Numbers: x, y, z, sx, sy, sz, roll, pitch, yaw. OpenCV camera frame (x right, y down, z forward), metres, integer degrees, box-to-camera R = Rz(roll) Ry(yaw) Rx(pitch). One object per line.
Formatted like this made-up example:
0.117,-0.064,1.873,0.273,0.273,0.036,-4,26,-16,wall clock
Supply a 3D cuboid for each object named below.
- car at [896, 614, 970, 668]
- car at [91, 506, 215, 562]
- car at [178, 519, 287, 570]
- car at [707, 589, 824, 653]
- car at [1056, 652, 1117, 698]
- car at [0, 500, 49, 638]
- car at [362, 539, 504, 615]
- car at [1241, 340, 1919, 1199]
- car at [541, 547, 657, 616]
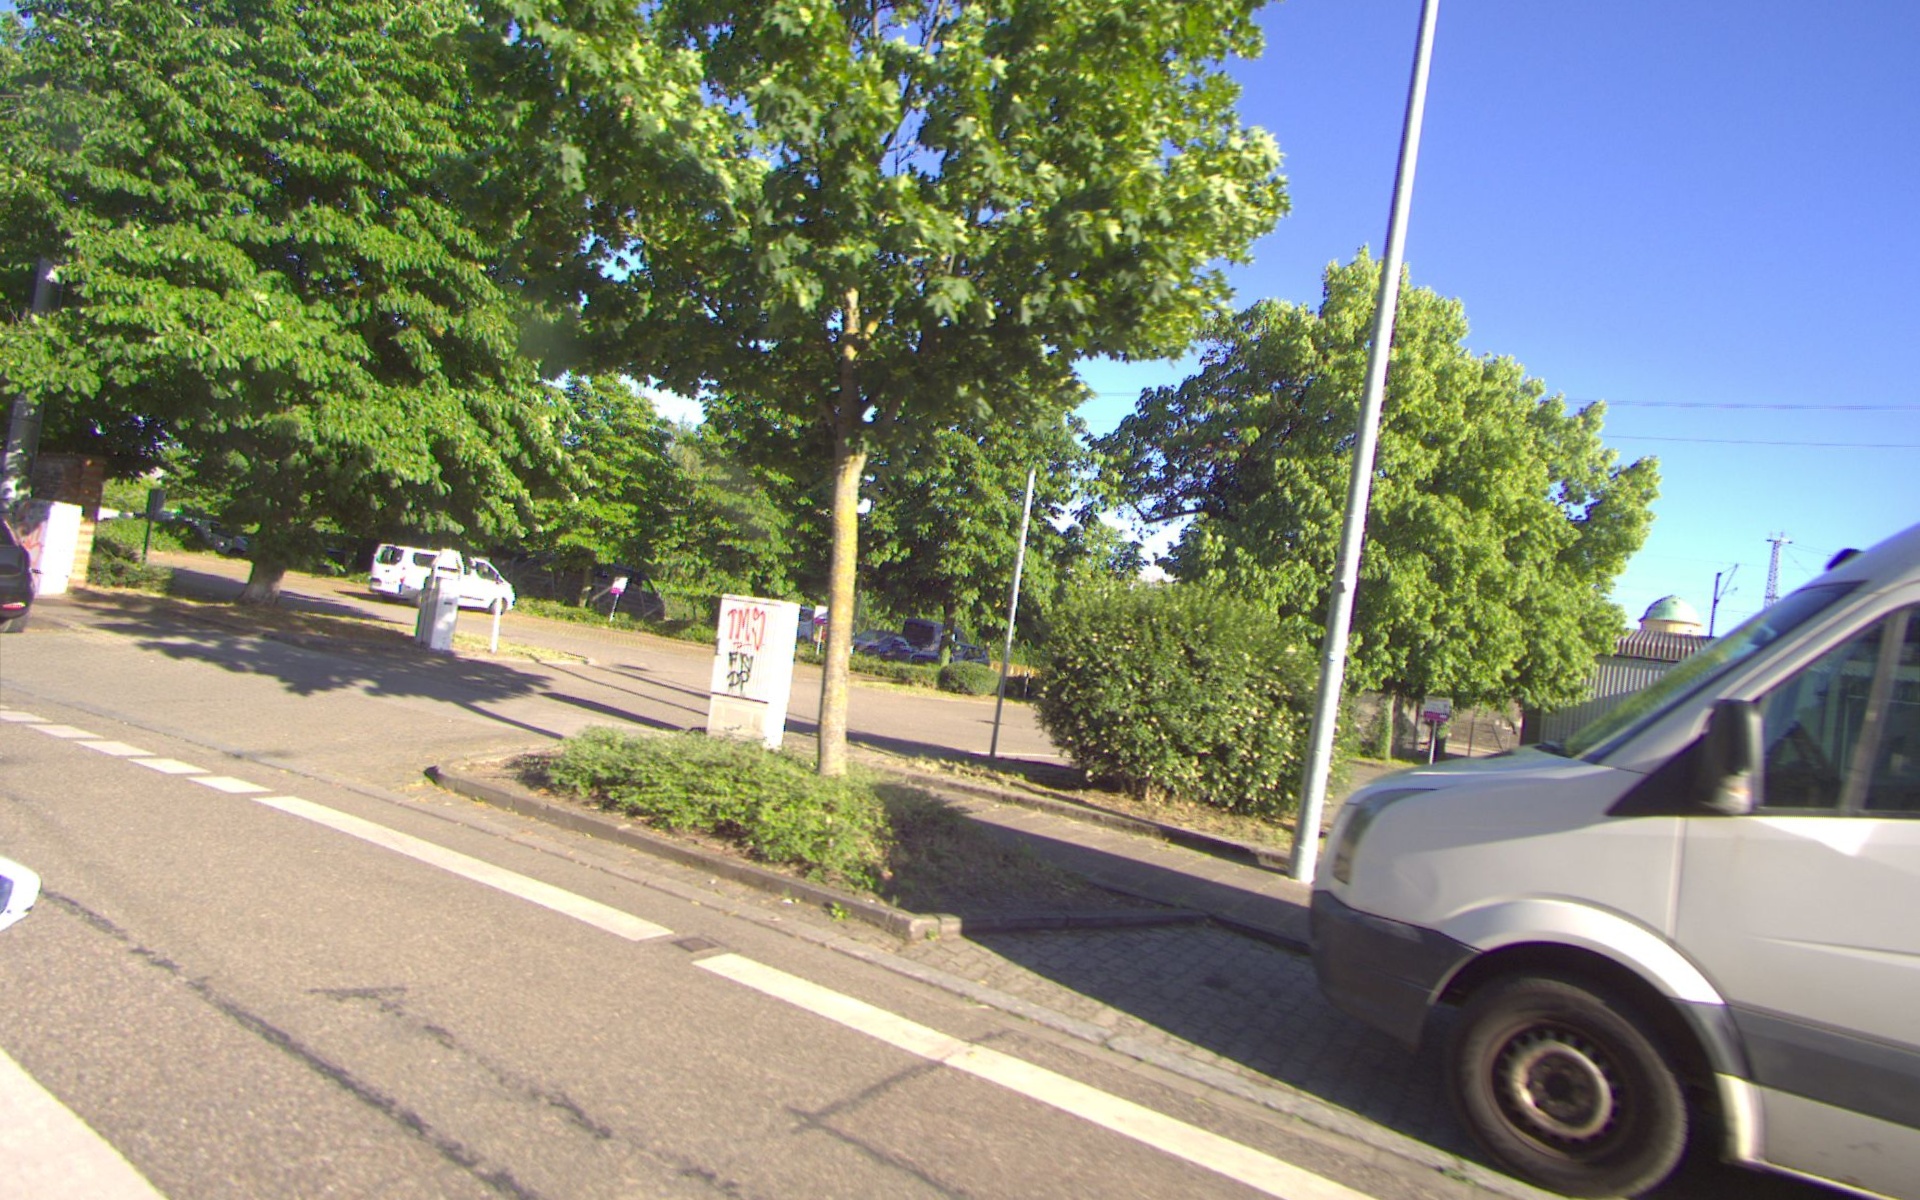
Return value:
-1.375,2.175,52.451,2.033,2.327,4.203,7,-2,23,car
-38.507,-3.121,48.109,1.965,1.790,4.003,7,-4,27,car
-37.813,-2.879,52.397,1.965,1.790,4.003,7,-4,27,car
-7.676,0.895,40.214,1.928,1.834,4.702,7,-4,27,car
6.281,3.742,49.621,1.712,1.943,4.143,7,-2,23,car
-12.814,-0.601,11.929,3.931,1.548,1.693,7,-1,29,car
-18.220,-0.746,34.964,1.775,1.880,3.925,7,-4,25,car
4.297,0.797,3.103,5.994,2.698,2.182,6,-1,34,car
-15.340,-0.726,42.992,2.105,2.266,4.203,7,-2,23,car
